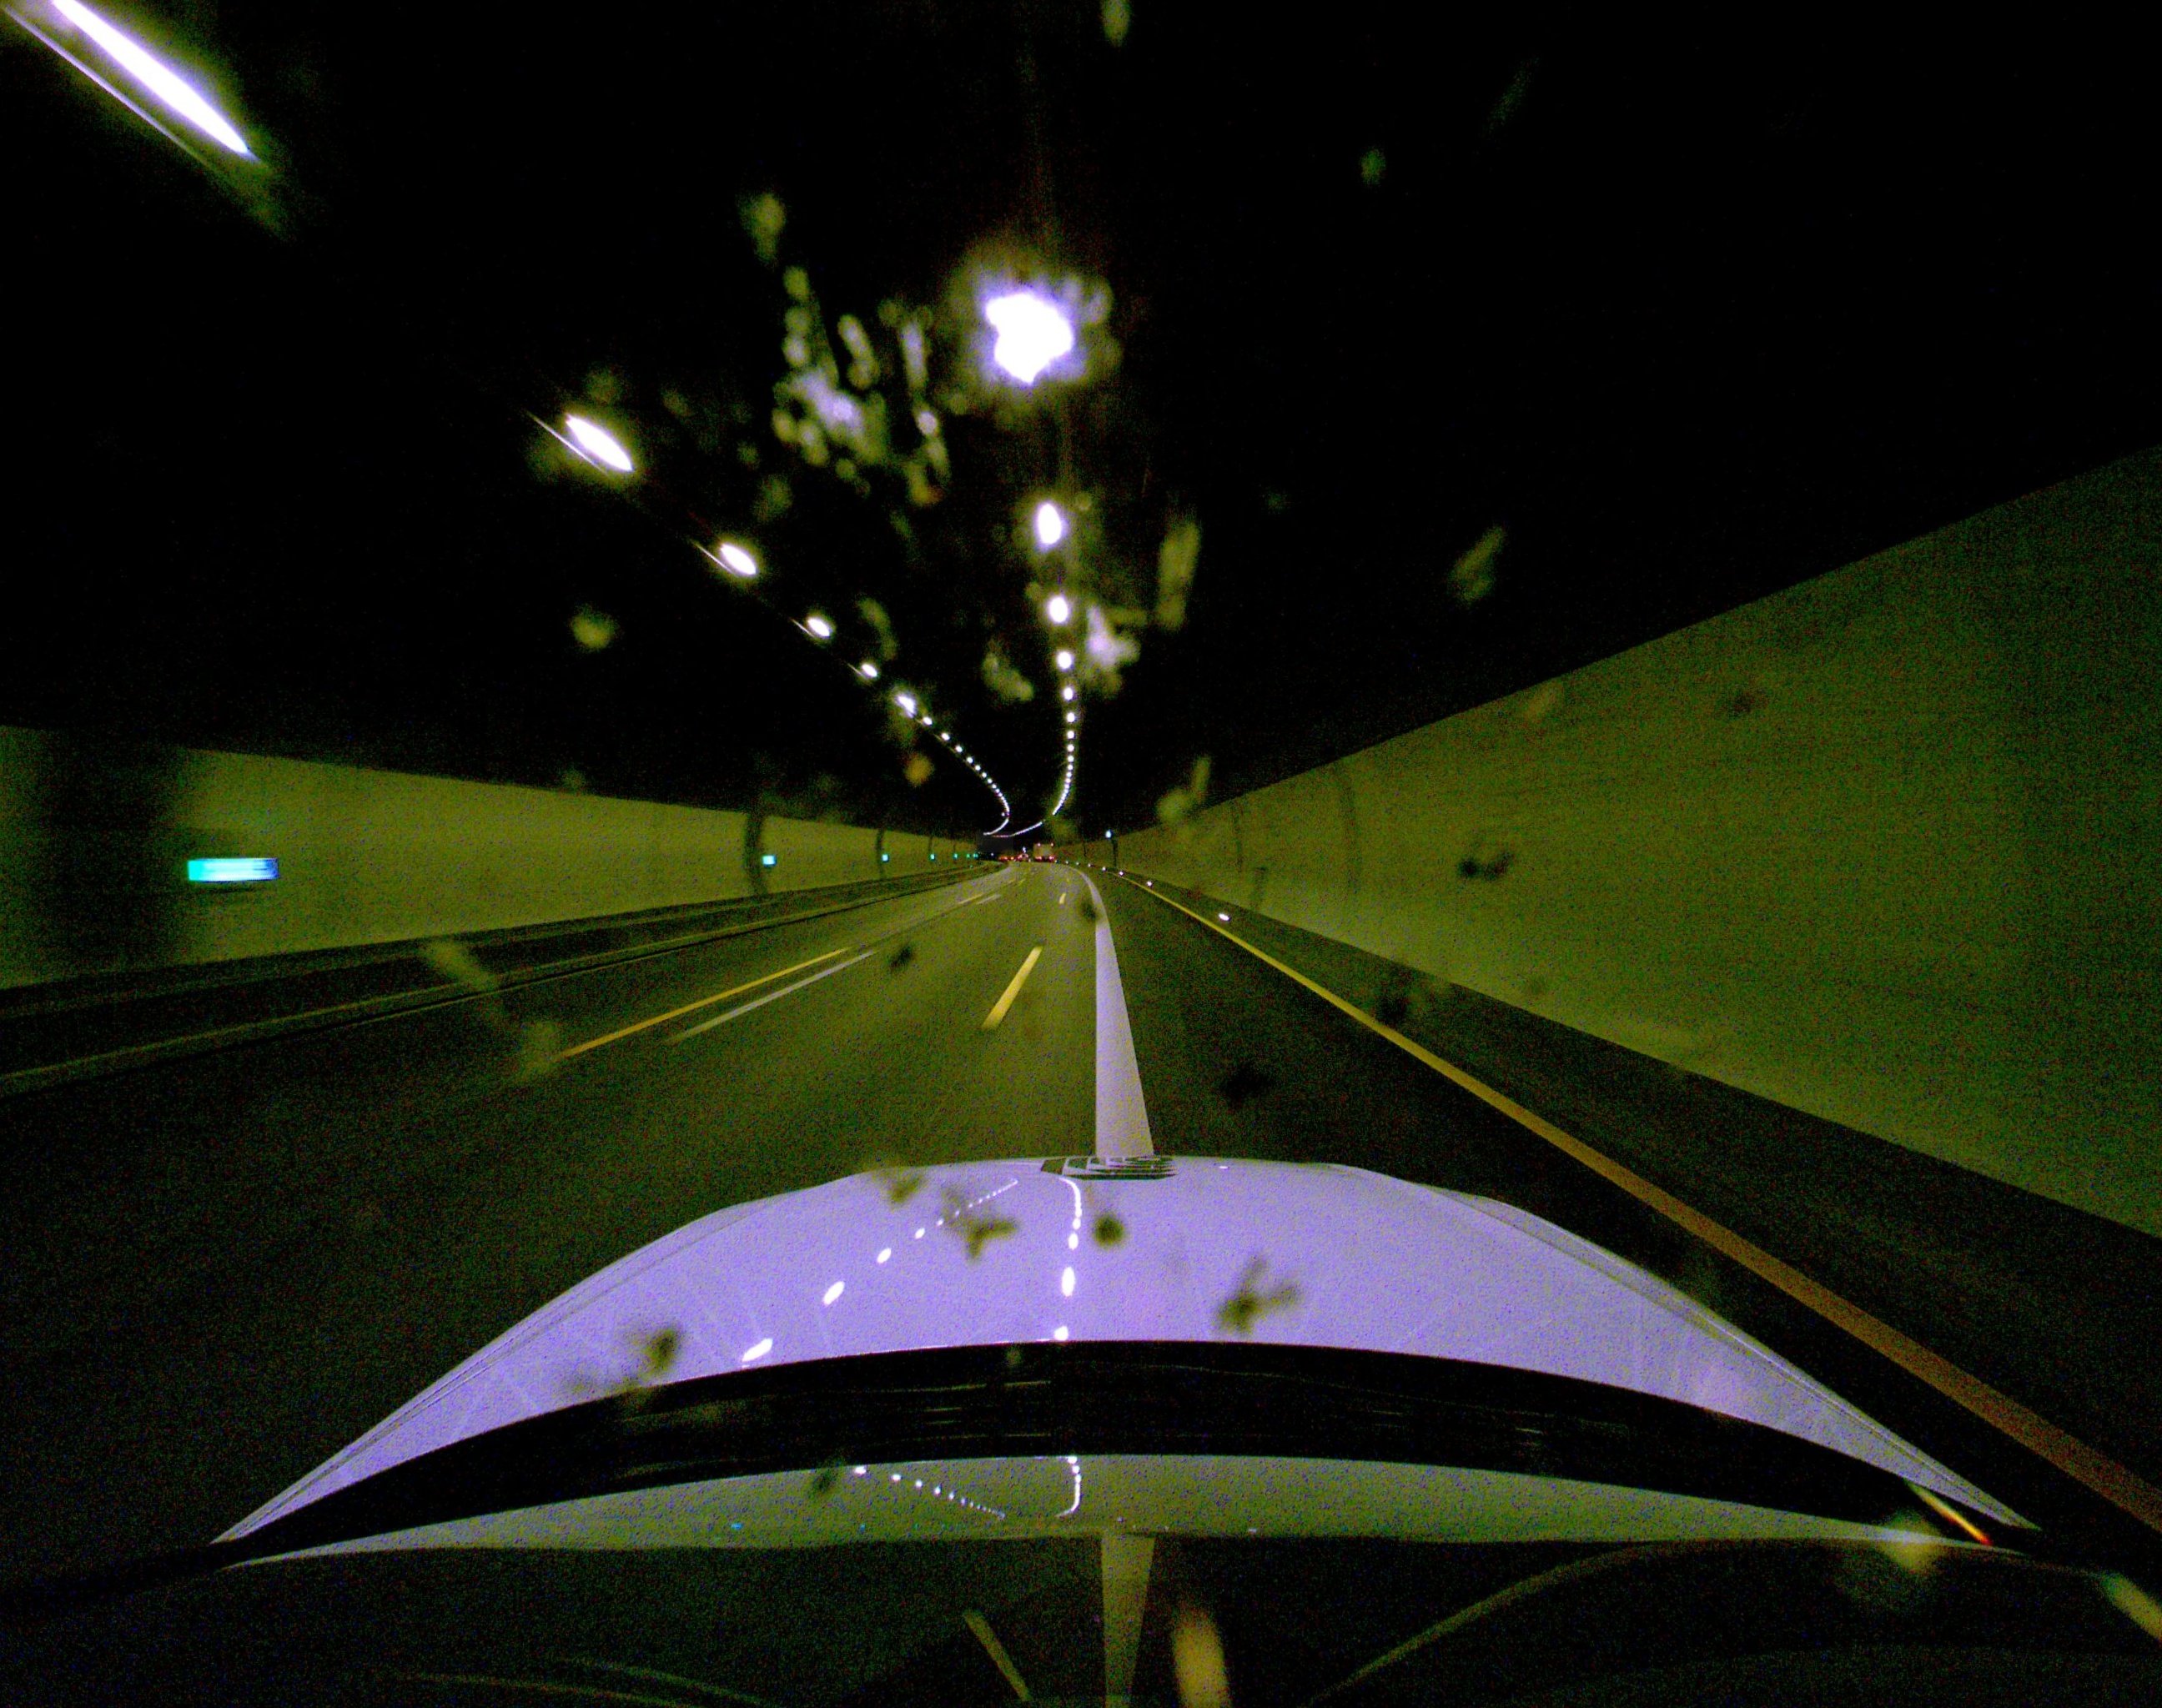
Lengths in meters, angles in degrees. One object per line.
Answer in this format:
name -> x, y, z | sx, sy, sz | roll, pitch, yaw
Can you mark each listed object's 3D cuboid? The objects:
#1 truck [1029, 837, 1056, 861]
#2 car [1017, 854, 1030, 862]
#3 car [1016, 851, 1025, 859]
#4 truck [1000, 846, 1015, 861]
truck -> -7.539, -0.883, 157.395 | 3.476, 4.316, 10.910 | -1, 0, -11
car -> -11.429, 0.740, 162.462 | 1.995, 1.582, 3.984 | -1, 0, -12
car -> -16.149, 0.315, 215.756 | 1.993, 2.013, 3.987 | -1, 0, -9
truck -> -23.182, -0.131, 255.346 | 3.475, 4.316, 10.910 | -2, 0, -11
